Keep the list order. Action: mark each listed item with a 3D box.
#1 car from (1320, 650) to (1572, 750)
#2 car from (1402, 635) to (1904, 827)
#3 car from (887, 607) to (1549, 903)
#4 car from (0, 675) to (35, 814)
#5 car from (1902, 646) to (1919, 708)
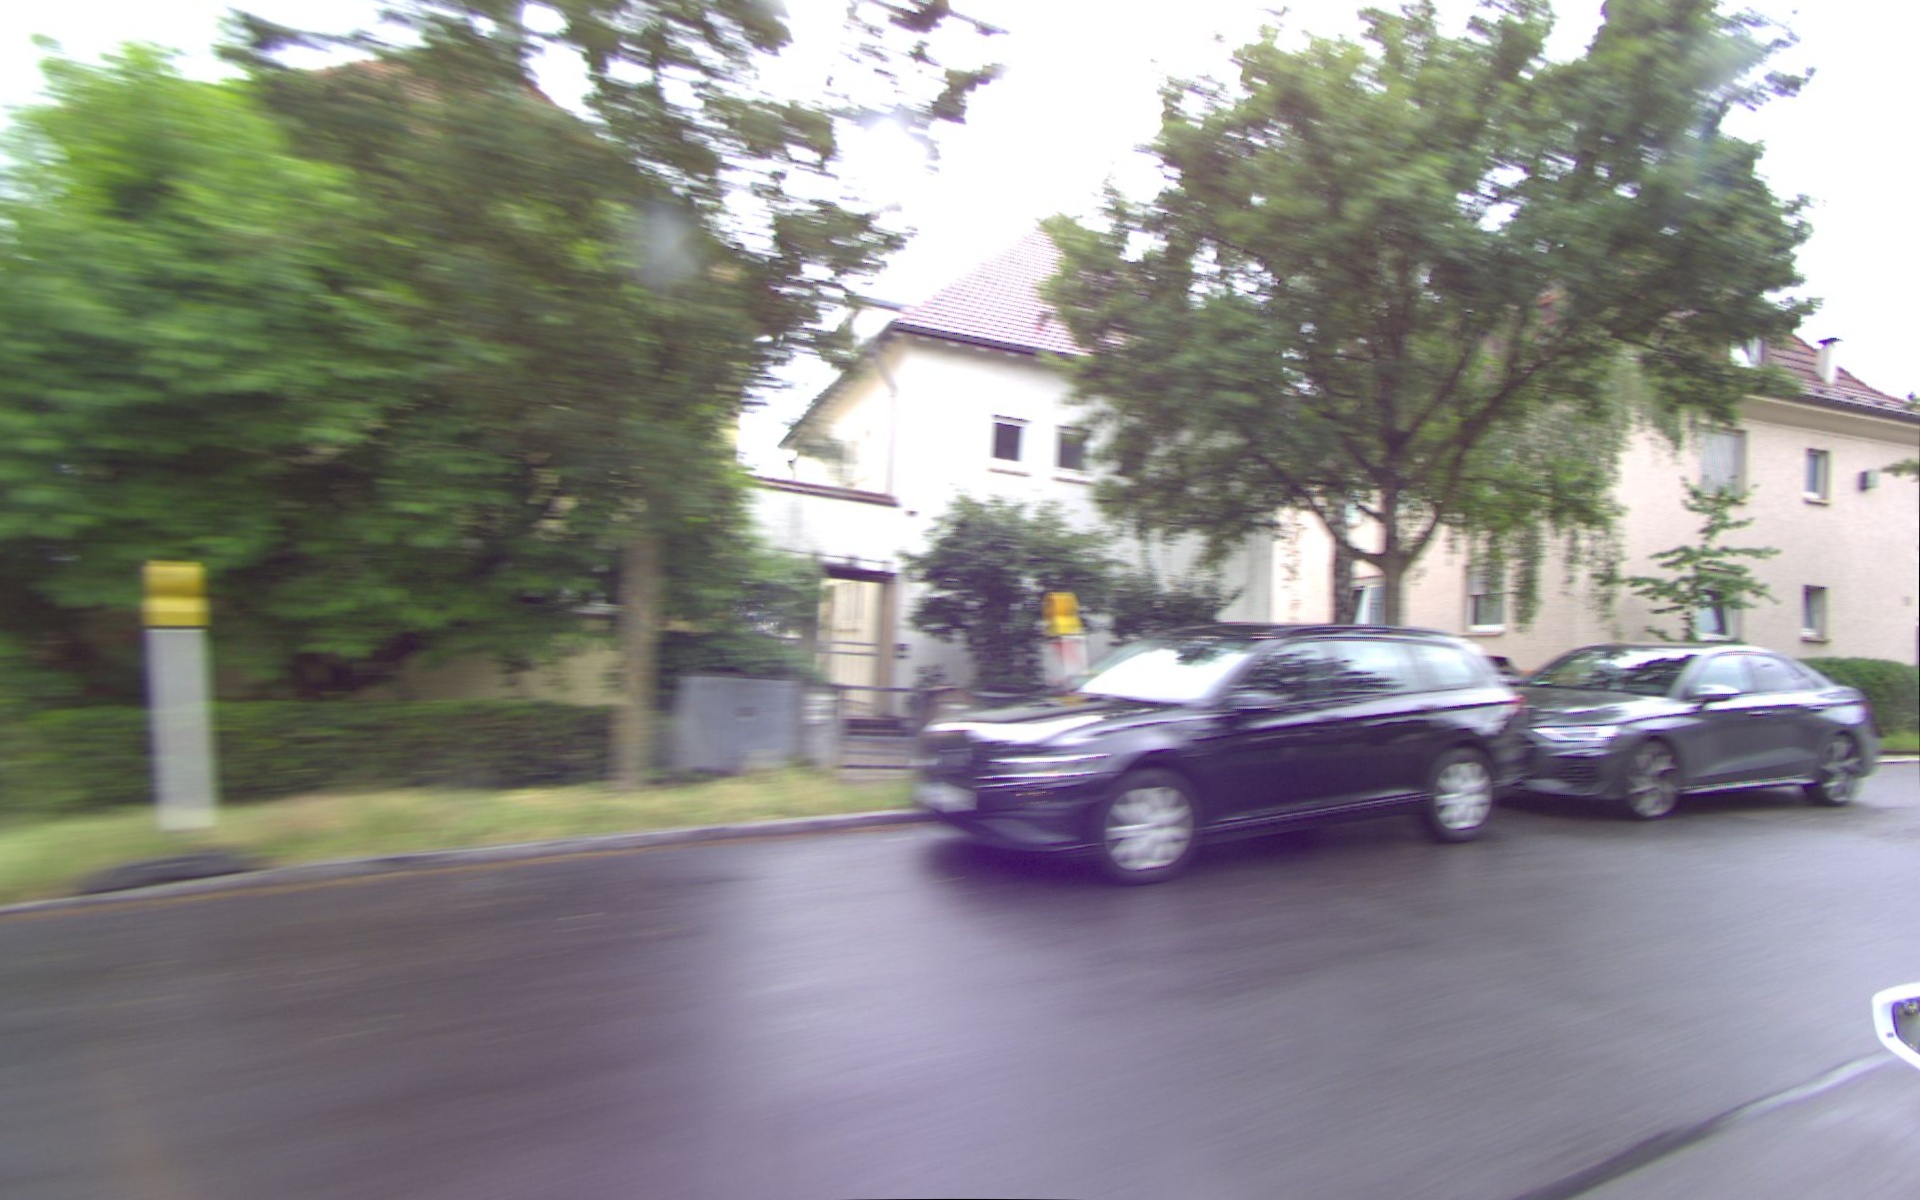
[{"bbox_3d":[8.689,1.928,18.463,1.881,1.522,4.248,1,-10,-13],"label":"car"},{"bbox_3d":[6.407,1.085,9.245,4.466,1.401,1.703,2,-1,-23],"label":"car"},{"bbox_3d":[1.892,0.864,6.964,4.474,1.503,1.725,2,-1,-29],"label":"car"},{"bbox_3d":[-10.145,1.325,9.051,1.758,1.411,3.903,2,-9,-30],"label":"car"},{"bbox_3d":[25.518,2.000,24.051,1.832,1.563,3.942,1,1,-13],"label":"car"}]
